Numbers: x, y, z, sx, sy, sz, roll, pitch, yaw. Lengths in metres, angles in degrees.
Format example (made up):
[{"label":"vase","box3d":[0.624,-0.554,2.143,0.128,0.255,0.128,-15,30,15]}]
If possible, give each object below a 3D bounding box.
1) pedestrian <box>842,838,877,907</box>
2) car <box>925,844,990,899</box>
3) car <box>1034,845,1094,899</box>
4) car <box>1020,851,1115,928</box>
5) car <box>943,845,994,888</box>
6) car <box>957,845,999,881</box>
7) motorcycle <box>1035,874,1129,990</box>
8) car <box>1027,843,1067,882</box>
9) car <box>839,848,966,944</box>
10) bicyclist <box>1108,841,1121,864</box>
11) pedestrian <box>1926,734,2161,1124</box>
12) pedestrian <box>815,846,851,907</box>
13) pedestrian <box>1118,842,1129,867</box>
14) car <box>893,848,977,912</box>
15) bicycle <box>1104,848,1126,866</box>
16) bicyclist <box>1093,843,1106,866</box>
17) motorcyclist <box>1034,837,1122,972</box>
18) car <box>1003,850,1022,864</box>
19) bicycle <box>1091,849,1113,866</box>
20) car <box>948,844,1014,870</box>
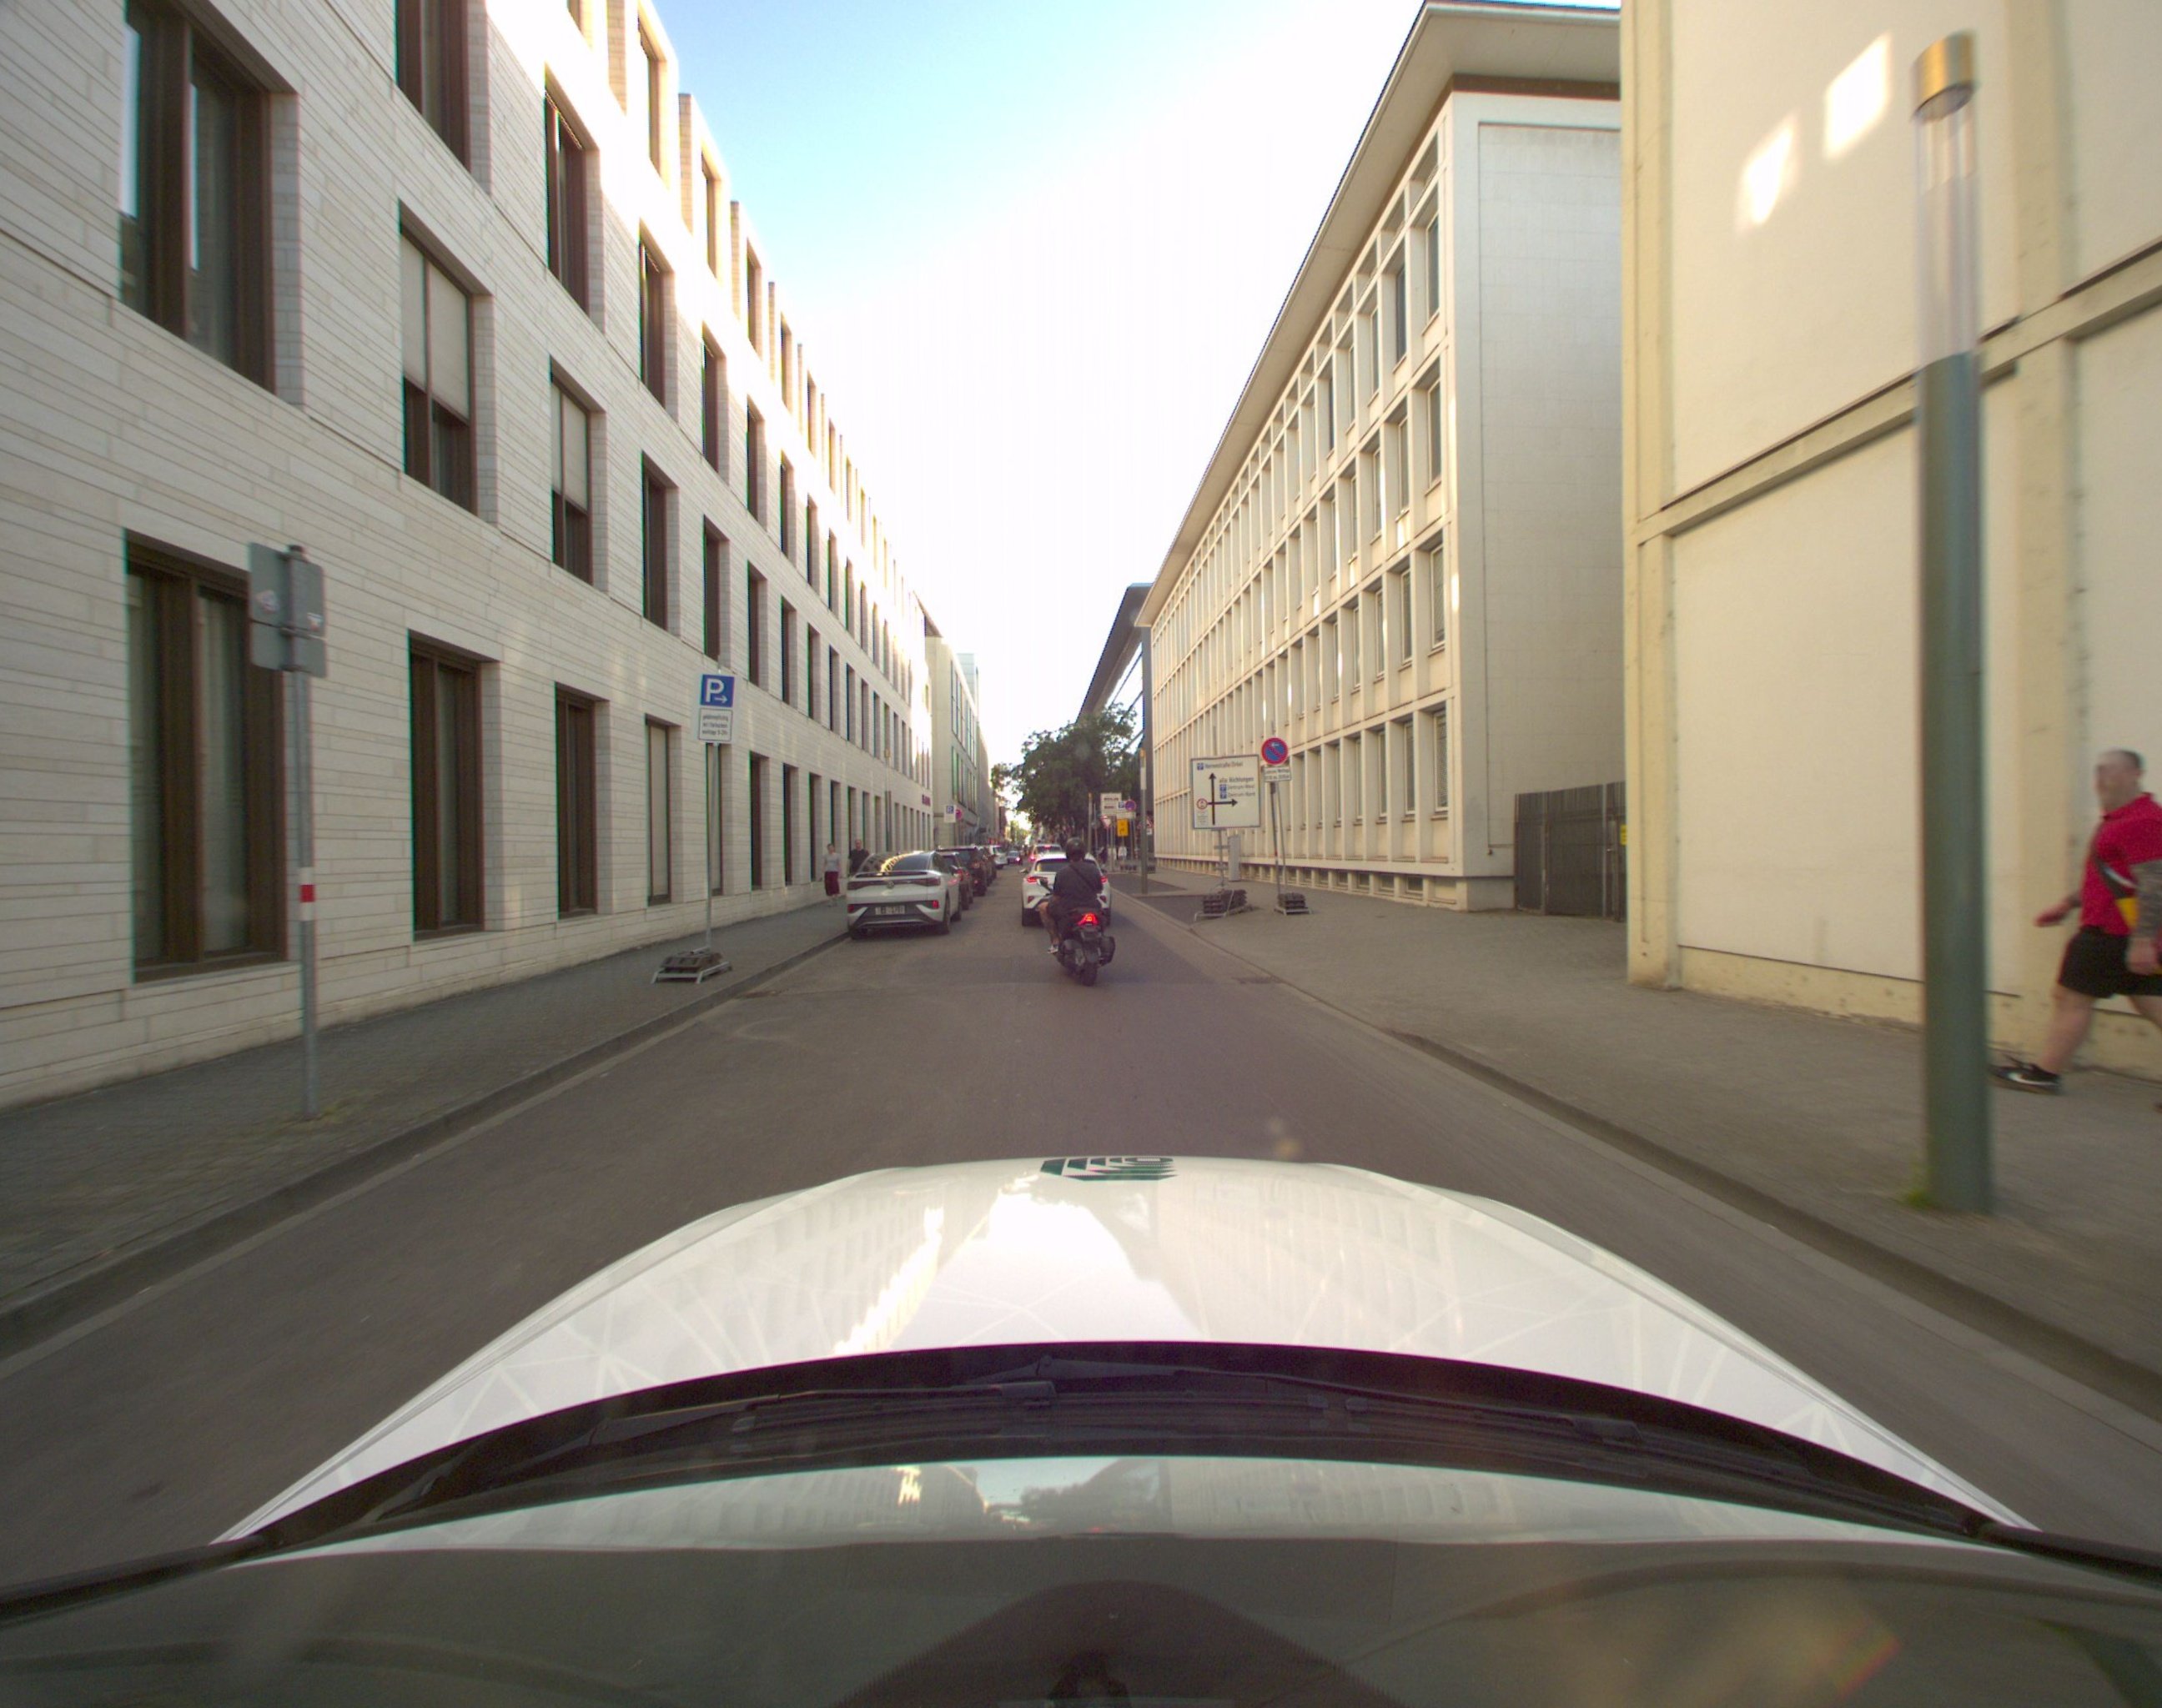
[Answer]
[{"label":"pedestrian","box3d":[-5.886,0.478,21.628,0.703,1.786,0.726,-2,0,-4]},{"label":"car","box3d":[-4.108,0.532,27.655,1.807,1.645,3.511,-3,1,-4]},{"label":"car","box3d":[-0.609,0.528,26.485,1.770,1.550,4.102,-2,1,-3]},{"label":"car","box3d":[-0.280,0.693,17.850,1.853,1.472,3.999,0,0,-1]},{"label":"car","box3d":[-4.616,0.482,33.933,1.773,1.606,3.511,-3,1,-4]},{"label":"car","box3d":[-4.995,0.392,39.866,1.773,1.606,3.511,-3,1,-4]},{"label":"motorcycle","box3d":[-0.059,0.905,10.412,0.905,1.183,2.573,-2,0,-6]},{"label":"car","box3d":[-1.829,0.395,42.585,1.921,1.856,3.995,-2,0,-4]},{"label":"car","box3d":[-3.452,0.722,16.493,1.807,1.606,4.262,-3,1,-4]},{"label":"bicyclist","box3d":[2.560,-0.090,61.714,0.741,1.706,0.740,-2,0,17]},{"label":"pedestrian","box3d":[5.152,0.329,4.193,0.707,1.801,0.774,-4,0,-4]},{"label":"pedestrian","box3d":[-6.764,0.588,22.256,0.703,1.613,0.859,-2,0,-4]},{"label":"pedestrian","box3d":[2.759,0.048,53.041,0.641,1.601,0.620,-2,0,-2]},{"label":"car","box3d":[-3.876,0.637,22.168,1.807,1.527,3.511,-3,1,-4]},{"label":"bicycle","box3d":[2.561,0.221,61.679,1.551,1.249,0.554,-2,0,17]},{"label":"bicyclist","box3d":[1.373,0.022,60.442,0.741,1.706,0.740,-2,0,17]},{"label":"motorcyclist","box3d":[-0.068,0.594,10.311,0.953,1.559,1.236,-2,0,-7]},{"label":"car","box3d":[-7.650,0.310,91.048,1.944,1.470,3.510,-2,0,-5]},{"label":"bicycle","box3d":[1.567,0.247,60.394,1.551,1.249,0.554,-2,0,17]},{"label":"car","box3d":[-6.688,0.203,54.435,3.951,1.596,1.915,-1,0,24]}]
